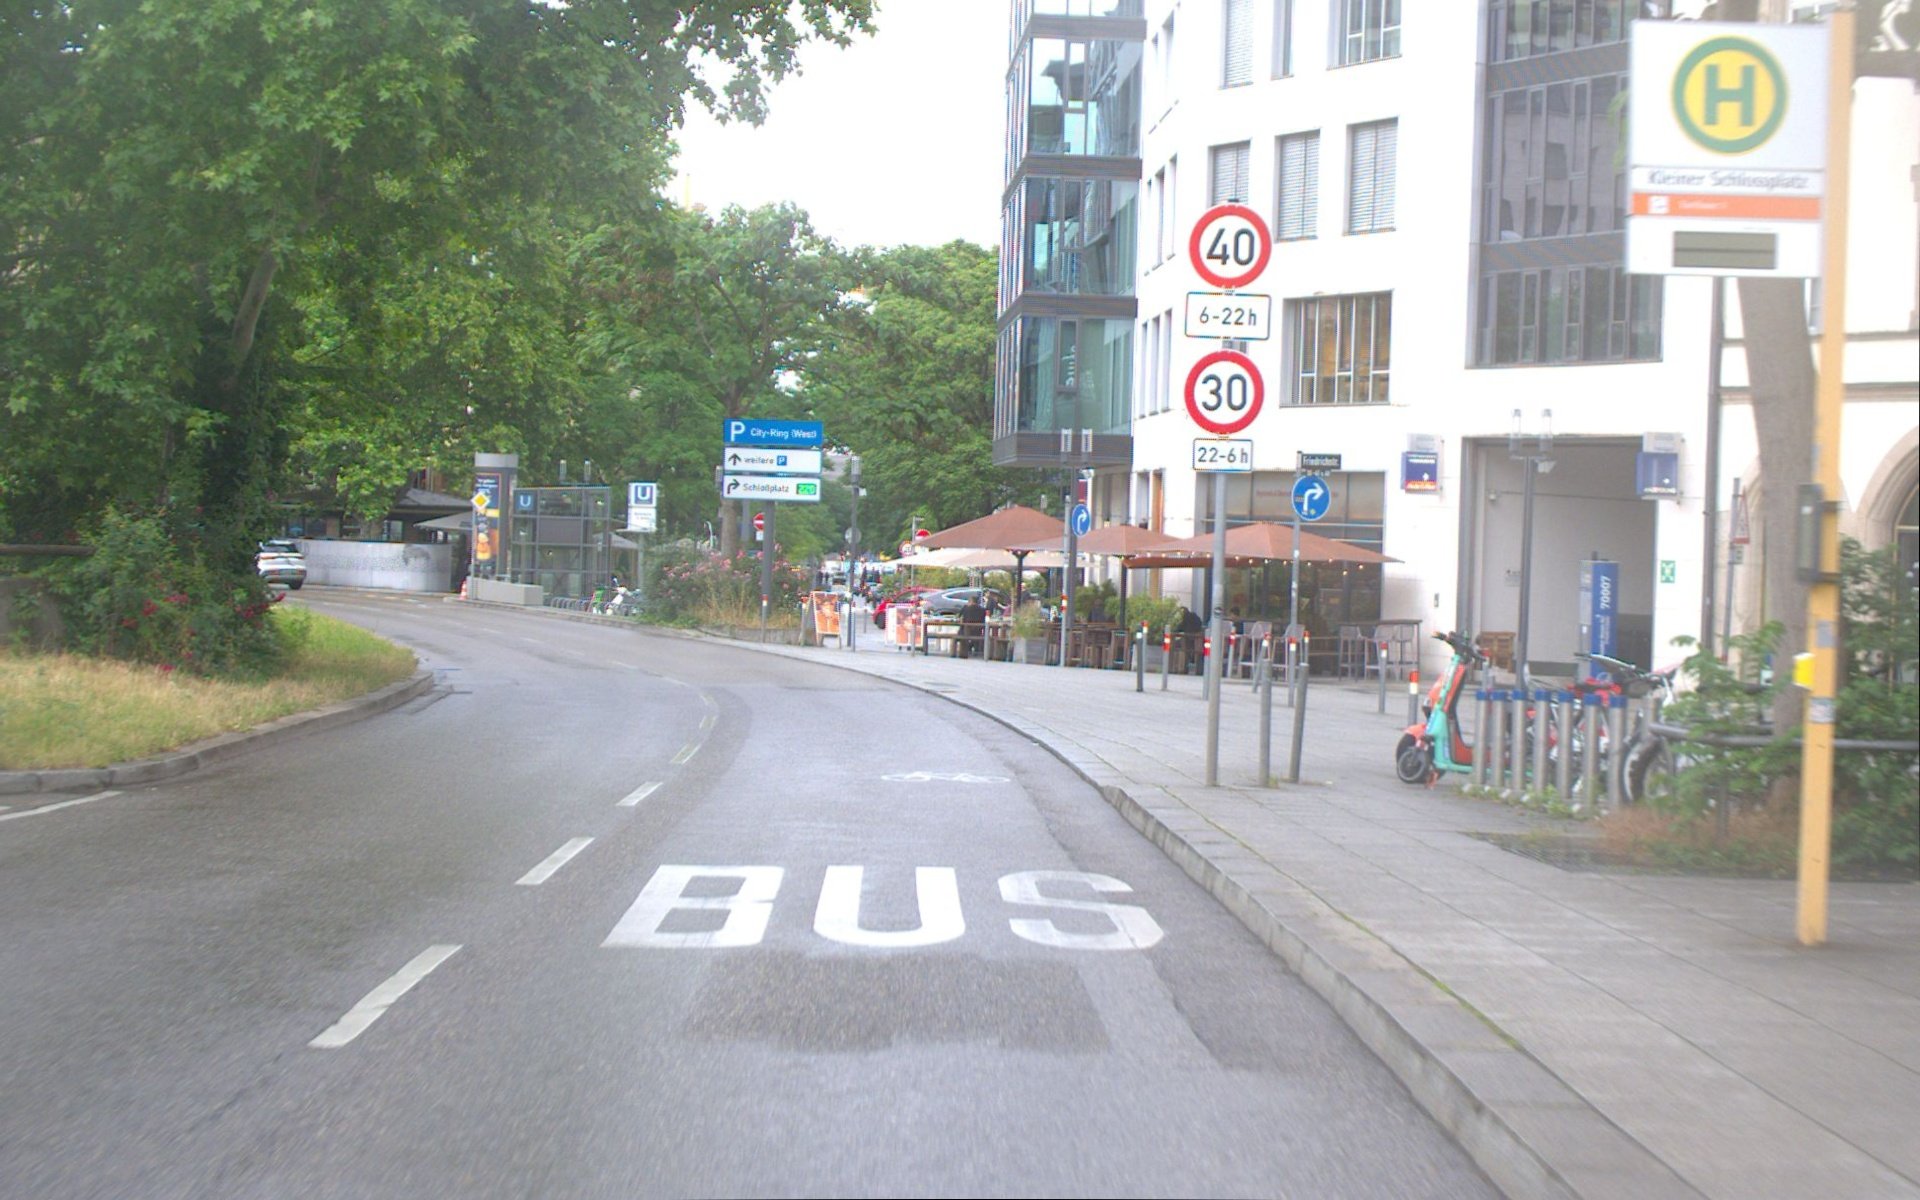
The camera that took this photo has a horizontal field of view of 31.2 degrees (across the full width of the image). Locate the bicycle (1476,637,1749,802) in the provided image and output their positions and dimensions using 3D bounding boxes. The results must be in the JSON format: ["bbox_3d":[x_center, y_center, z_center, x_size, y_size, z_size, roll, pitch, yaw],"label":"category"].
[{"bbox_3d":[4.780,0.871,25.217,1.794,1.104,0.670,3,-1,-7],"label":"bicycle"}]

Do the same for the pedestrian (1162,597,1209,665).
[{"bbox_3d":[4.586,0.621,69.840,0.626,1.322,0.636,4,0,-25],"label":"pedestrian"}]

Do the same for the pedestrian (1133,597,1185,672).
[{"bbox_3d":[3.664,0.638,63.450,0.773,1.322,0.636,4,0,-6],"label":"pedestrian"}]

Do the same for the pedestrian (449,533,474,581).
[{"bbox_3d":[-17.880,-1.530,123.337,0.722,1.696,0.618,1,0,7],"label":"pedestrian"}]

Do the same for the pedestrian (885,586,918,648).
[{"bbox_3d":[-1.308,0.375,76.644,0.606,1.322,0.567,4,0,-5],"label":"pedestrian"}]

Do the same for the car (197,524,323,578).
[{"bbox_3d":[-23.381,-1.638,114.747,4.342,1.661,1.948,2,0,44],"label":"car"}]

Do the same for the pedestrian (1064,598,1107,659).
[{"bbox_3d":[2.857,0.642,78.597,0.817,1.322,0.636,4,0,-5],"label":"pedestrian"}]

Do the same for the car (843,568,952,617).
[{"bbox_3d":[-2.122,-0.251,115.796,3.527,1.411,1.610,4,0,45],"label":"car"}]

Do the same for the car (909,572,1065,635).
[{"bbox_3d":[0.826,0.092,107.159,4.734,1.685,2.005,3,1,-1],"label":"car"}]

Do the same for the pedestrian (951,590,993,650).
[{"bbox_3d":[0.275,0.454,78.671,0.817,1.322,0.636,4,0,-5],"label":"pedestrian"}]

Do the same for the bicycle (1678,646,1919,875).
[{"bbox_3d":[4.560,0.810,17.110,1.794,1.064,0.556,3,-1,-6],"label":"bicycle"}]

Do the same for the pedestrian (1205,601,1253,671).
[{"bbox_3d":[5.297,0.709,67.725,0.626,1.322,0.636,4,0,-25],"label":"pedestrian"}]

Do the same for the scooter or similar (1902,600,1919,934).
[{"bbox_3d":[4.136,0.641,12.967,1.060,1.253,0.302,2,-1,-8],"label":"scooter or similar"}]

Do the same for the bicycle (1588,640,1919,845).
[{"bbox_3d":[4.741,0.841,20.470,1.794,1.104,0.670,3,-1,-7],"label":"bicycle"}]

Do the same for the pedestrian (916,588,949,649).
[{"bbox_3d":[-0.618,0.411,76.701,0.606,1.322,0.567,4,0,-5],"label":"pedestrian"}]

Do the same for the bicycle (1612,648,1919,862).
[{"bbox_3d":[4.519,0.841,18.654,1.794,1.064,0.556,3,-1,-6],"label":"bicycle"}]

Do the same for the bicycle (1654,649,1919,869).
[{"bbox_3d":[4.613,0.838,17.985,1.794,1.064,0.556,3,-1,-6],"label":"bicycle"}]

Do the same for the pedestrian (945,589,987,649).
[{"bbox_3d":[0.137,0.445,79.459,0.817,1.322,0.636,4,0,-5],"label":"pedestrian"}]

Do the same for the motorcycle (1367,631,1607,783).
[{"bbox_3d":[4.303,0.870,28.119,1.791,1.136,0.596,3,-1,-6],"label":"motorcycle"}]

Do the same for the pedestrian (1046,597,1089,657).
[{"bbox_3d":[2.477,0.624,79.405,0.817,1.322,0.636,4,0,-5],"label":"pedestrian"}]

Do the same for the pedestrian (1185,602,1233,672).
[{"bbox_3d":[4.968,0.738,68.529,0.626,1.322,0.636,4,0,-25],"label":"pedestrian"}]

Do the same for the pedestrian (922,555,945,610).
[{"bbox_3d":[-0.941,-0.622,122.036,0.624,1.926,0.787,3,0,5],"label":"pedestrian"}]

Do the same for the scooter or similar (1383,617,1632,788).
[{"bbox_3d":[4.325,0.806,27.193,1.791,1.239,0.596,3,-1,-6],"label":"scooter or similar"}]
